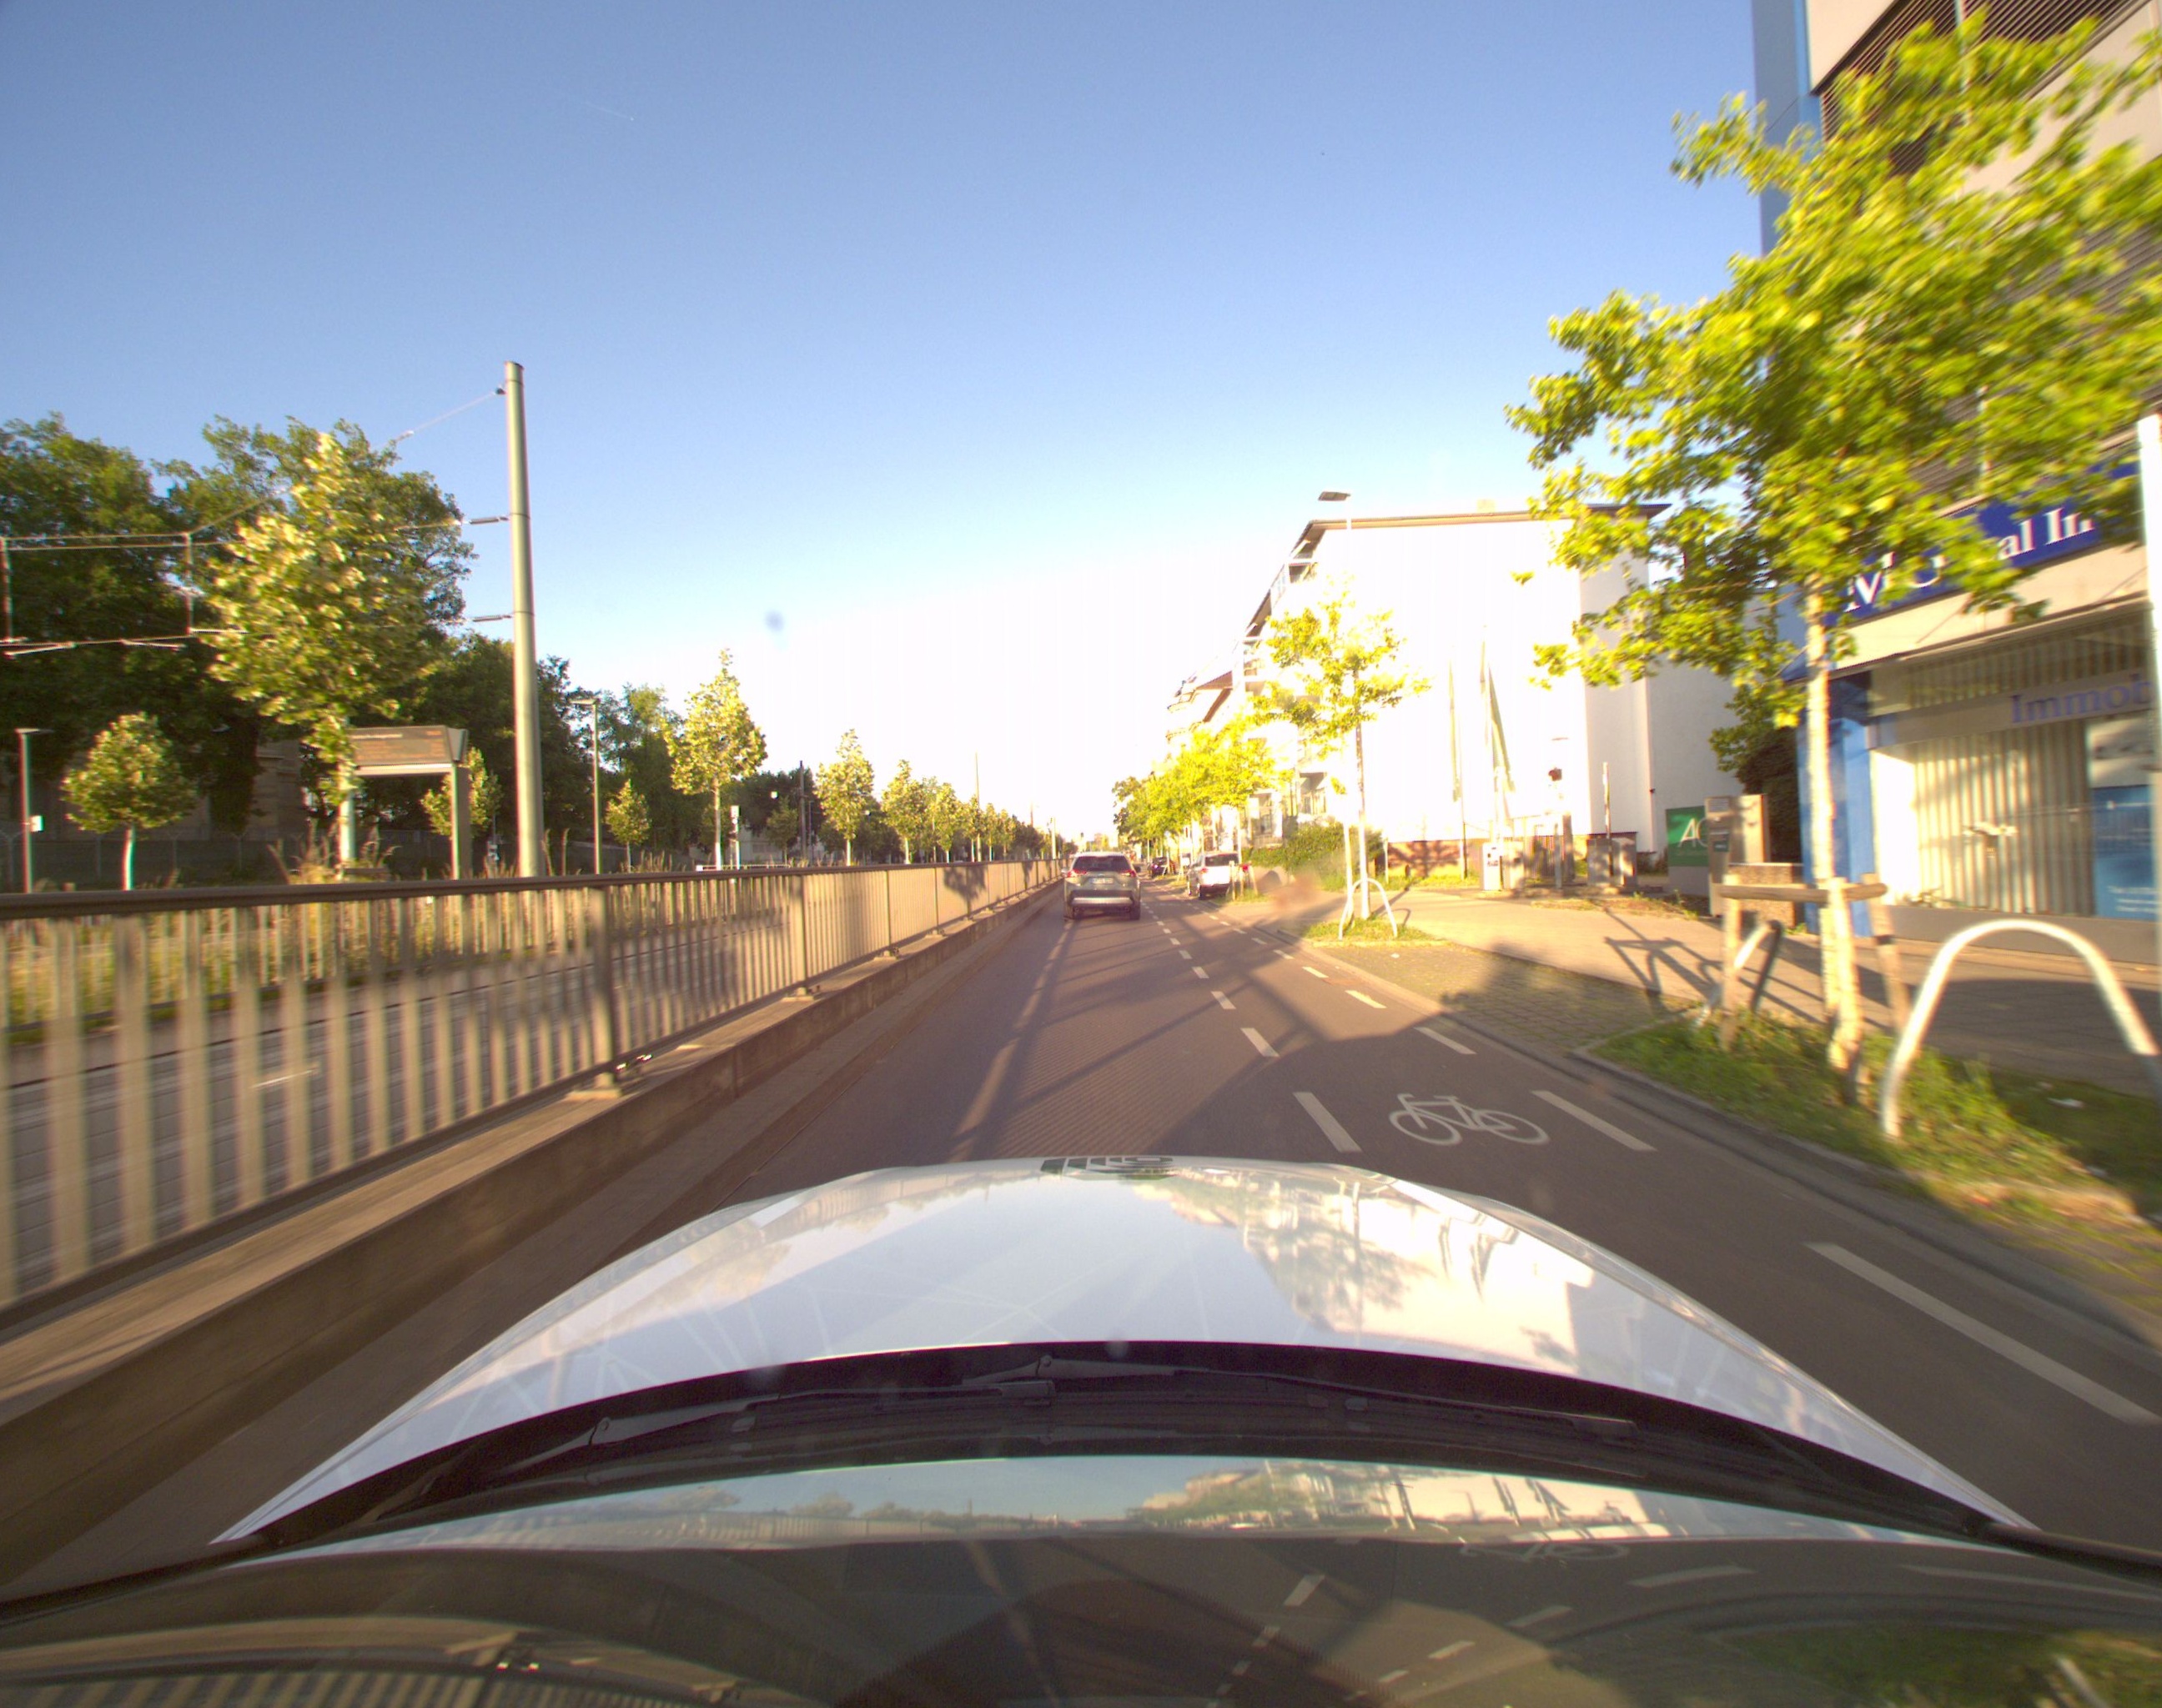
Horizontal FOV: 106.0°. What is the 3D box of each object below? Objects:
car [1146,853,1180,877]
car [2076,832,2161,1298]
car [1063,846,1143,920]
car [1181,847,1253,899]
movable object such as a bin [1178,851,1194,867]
[{"bbox_3d":[5.915,0.782,58.935,1.788,1.471,4.442,-5,0,-1],"label":"car"},{"bbox_3d":[4.270,0.608,0.665,1.813,1.454,4.127,-3,0,0],"label":"car"},{"bbox_3d":[0.505,0.680,20.905,1.852,1.714,4.191,0,0,0],"label":"car"},{"bbox_3d":[4.903,0.647,29.823,1.848,1.706,4.253,-2,0,0],"label":"car"},{"bbox_3d":[9.648,0.463,74.912,1.256,1.462,1.123,-2,0,-2],"label":"movable object such as a bin"}]
